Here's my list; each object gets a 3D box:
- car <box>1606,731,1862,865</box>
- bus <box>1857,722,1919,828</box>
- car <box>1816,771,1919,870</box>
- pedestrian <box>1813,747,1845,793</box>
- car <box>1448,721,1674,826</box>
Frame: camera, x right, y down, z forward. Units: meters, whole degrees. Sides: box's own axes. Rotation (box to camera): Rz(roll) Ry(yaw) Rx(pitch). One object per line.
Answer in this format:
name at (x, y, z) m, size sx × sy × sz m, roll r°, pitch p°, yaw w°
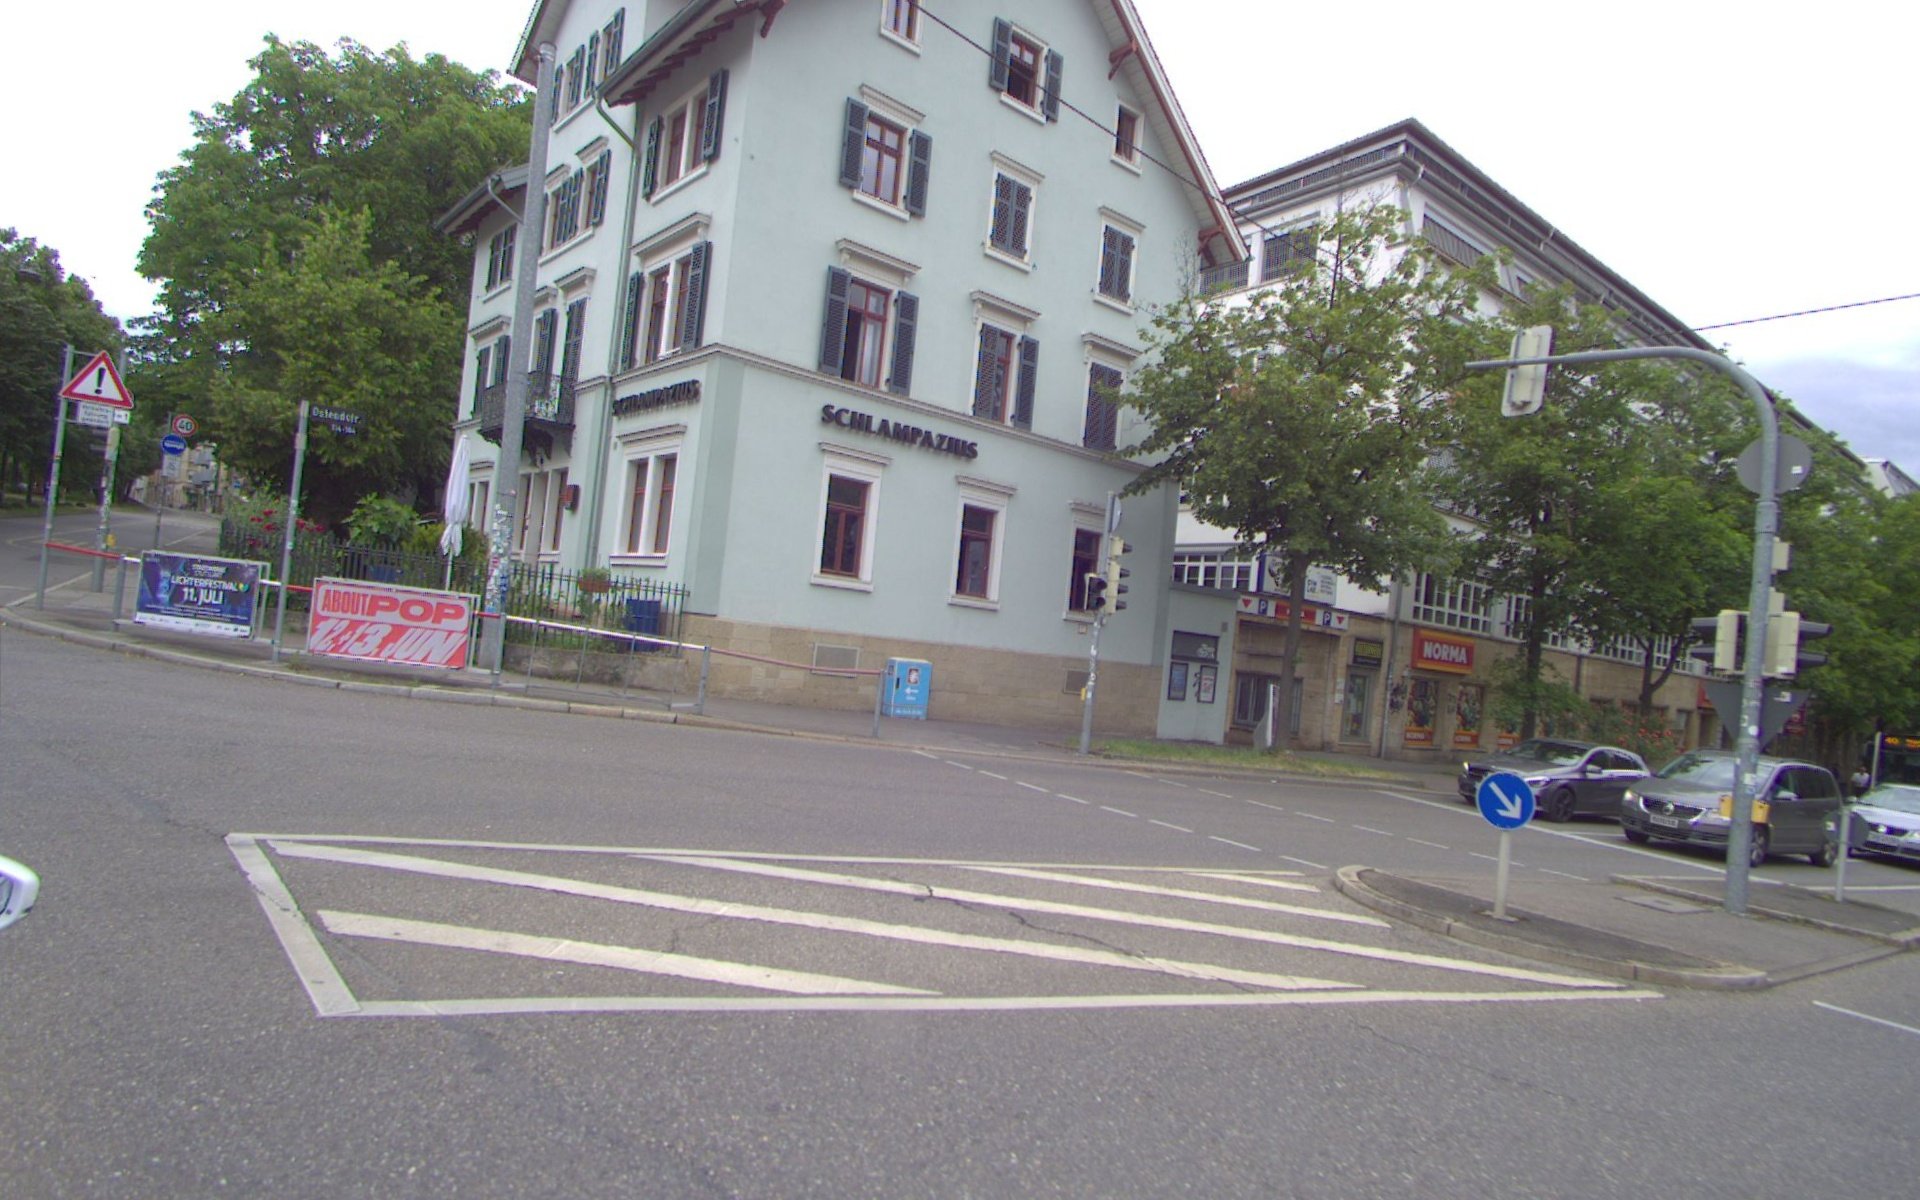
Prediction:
car at (12.420, 3.185, 16.095) m, size 4.155 × 1.657 × 1.698 m, roll 9°, pitch -3°, yaw -30°
bus at (34.623, 6.345, 35.078) m, size 10.319 × 3.145 × 2.835 m, roll 9°, pitch -2°, yaw -37°
car at (17.796, 4.137, 18.665) m, size 3.752 × 1.438 × 1.652 m, roll 9°, pitch -2°, yaw -30°
pedestrian at (39.905, 7.810, 46.208) m, size 0.802 × 1.935 × 0.742 m, roll 8°, pitch -1°, yaw -34°
car at (11.220, 3.241, 18.721) m, size 4.155 × 1.440 × 1.698 m, roll 9°, pitch -2°, yaw -30°
